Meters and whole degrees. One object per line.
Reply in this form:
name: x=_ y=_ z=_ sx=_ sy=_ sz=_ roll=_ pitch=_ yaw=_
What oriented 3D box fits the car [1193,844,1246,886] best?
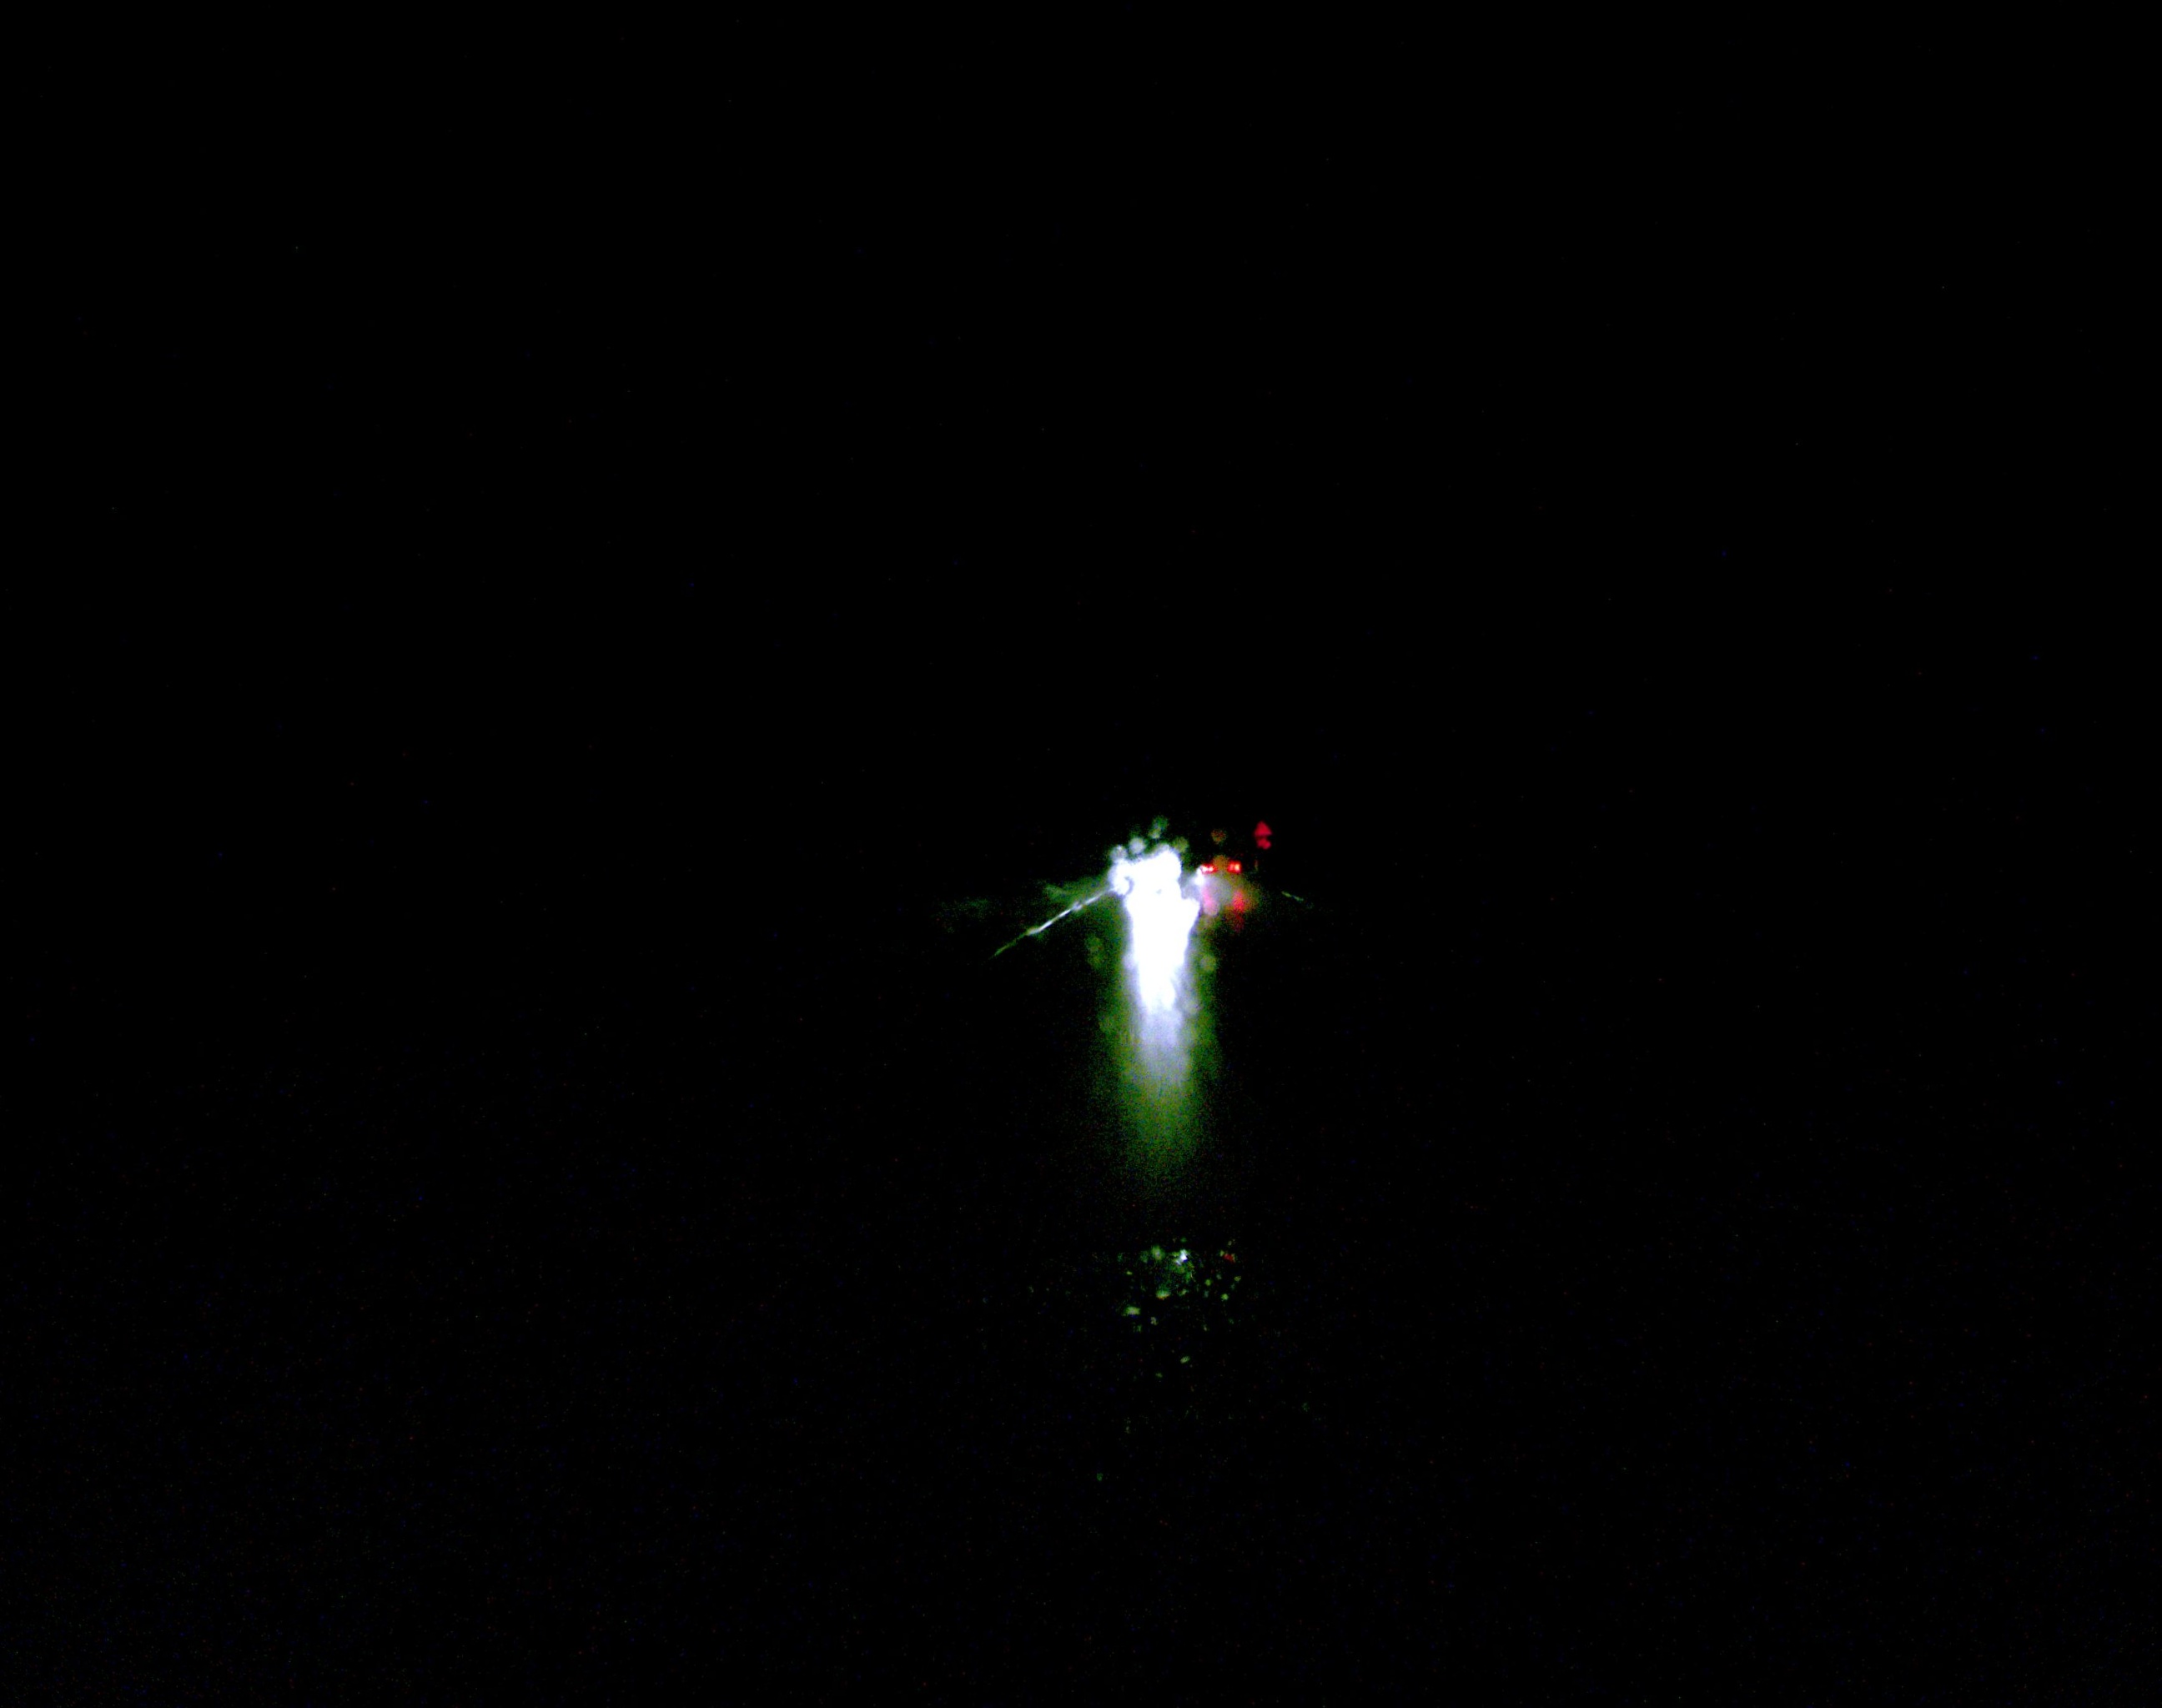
car: x=6.449 y=0.464 z=35.753 sx=1.981 sy=1.768 sz=4.001 roll=-4 pitch=0 yaw=5

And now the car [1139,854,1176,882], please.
car: x=4.668 y=0.824 z=45.978 sx=1.997 sy=1.412 sz=4.002 roll=-4 pitch=0 yaw=7
